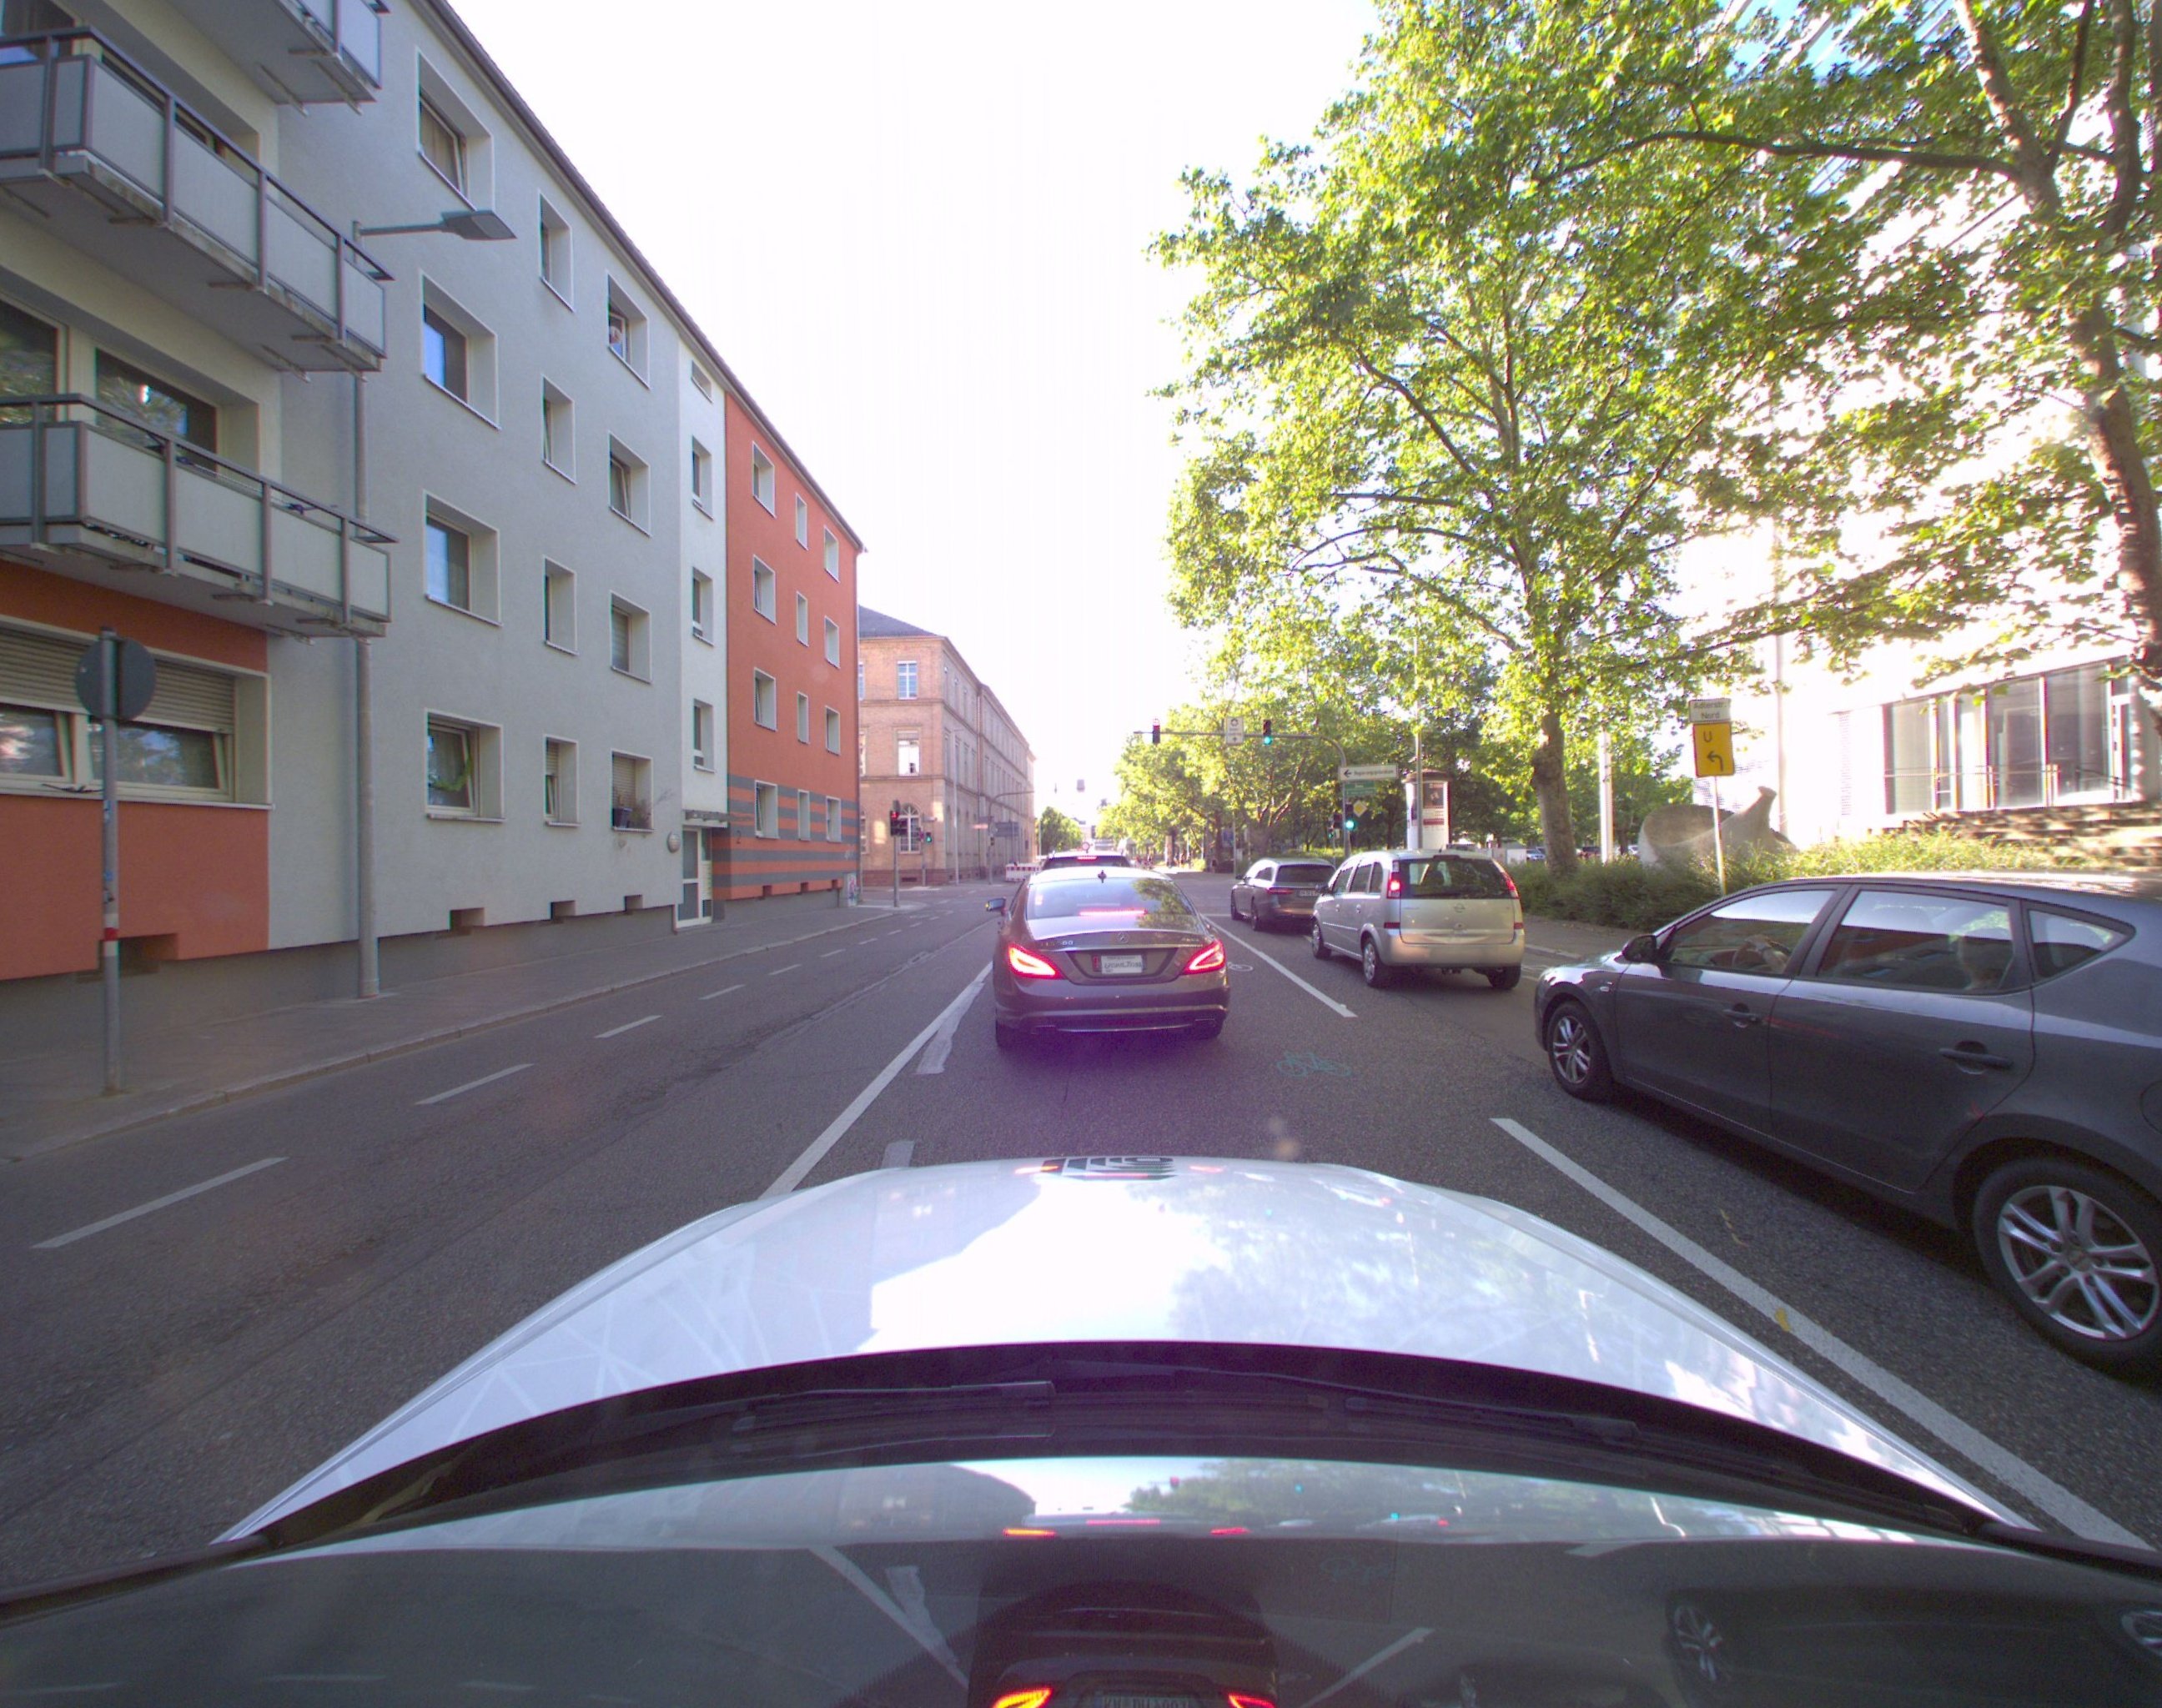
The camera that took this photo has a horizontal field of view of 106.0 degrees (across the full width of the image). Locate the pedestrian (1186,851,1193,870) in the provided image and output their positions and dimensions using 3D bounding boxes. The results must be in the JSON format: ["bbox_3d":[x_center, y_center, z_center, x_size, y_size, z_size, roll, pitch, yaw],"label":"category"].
[{"bbox_3d":[10.629,0.618,79.743,0.601,1.821,0.652,-1,0,1],"label":"pedestrian"}]

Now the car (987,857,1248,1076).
[{"bbox_3d":[0.073,0.770,7.773,1.801,1.456,4.342,-1,0,-5],"label":"car"}]

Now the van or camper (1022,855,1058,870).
[{"bbox_3d":[-5.720,1.212,114.128,4.544,1.941,2.008,-1,0,15],"label":"van or camper"}]

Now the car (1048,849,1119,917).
[{"bbox_3d":[0.128,0.767,23.369,1.813,1.762,4.002,-1,0,2],"label":"car"}]

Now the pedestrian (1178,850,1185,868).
[{"bbox_3d":[9.897,0.483,80.002,0.601,1.821,0.652,-1,0,1],"label":"pedestrian"}]

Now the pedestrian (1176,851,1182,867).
[{"bbox_3d":[11.154,0.566,92.691,0.609,1.821,0.933,-1,0,2],"label":"pedestrian"}]

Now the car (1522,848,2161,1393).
[{"bbox_3d":[3.809,0.732,3.637,1.638,1.482,3.978,0,0,2],"label":"car"}]

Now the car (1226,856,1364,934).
[{"bbox_3d":[4.438,0.777,17.652,1.905,1.464,4.671,0,0,2],"label":"car"}]

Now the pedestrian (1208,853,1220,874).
[{"bbox_3d":[10.081,0.710,61.643,0.827,1.606,0.652,-1,0,1],"label":"pedestrian"}]

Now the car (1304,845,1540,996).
[{"bbox_3d":[4.201,0.713,10.710,1.694,1.603,3.863,1,0,4],"label":"car"}]

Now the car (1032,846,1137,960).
[{"bbox_3d":[0.052,0.710,13.798,1.513,1.647,3.879,-1,0,0],"label":"car"}]
